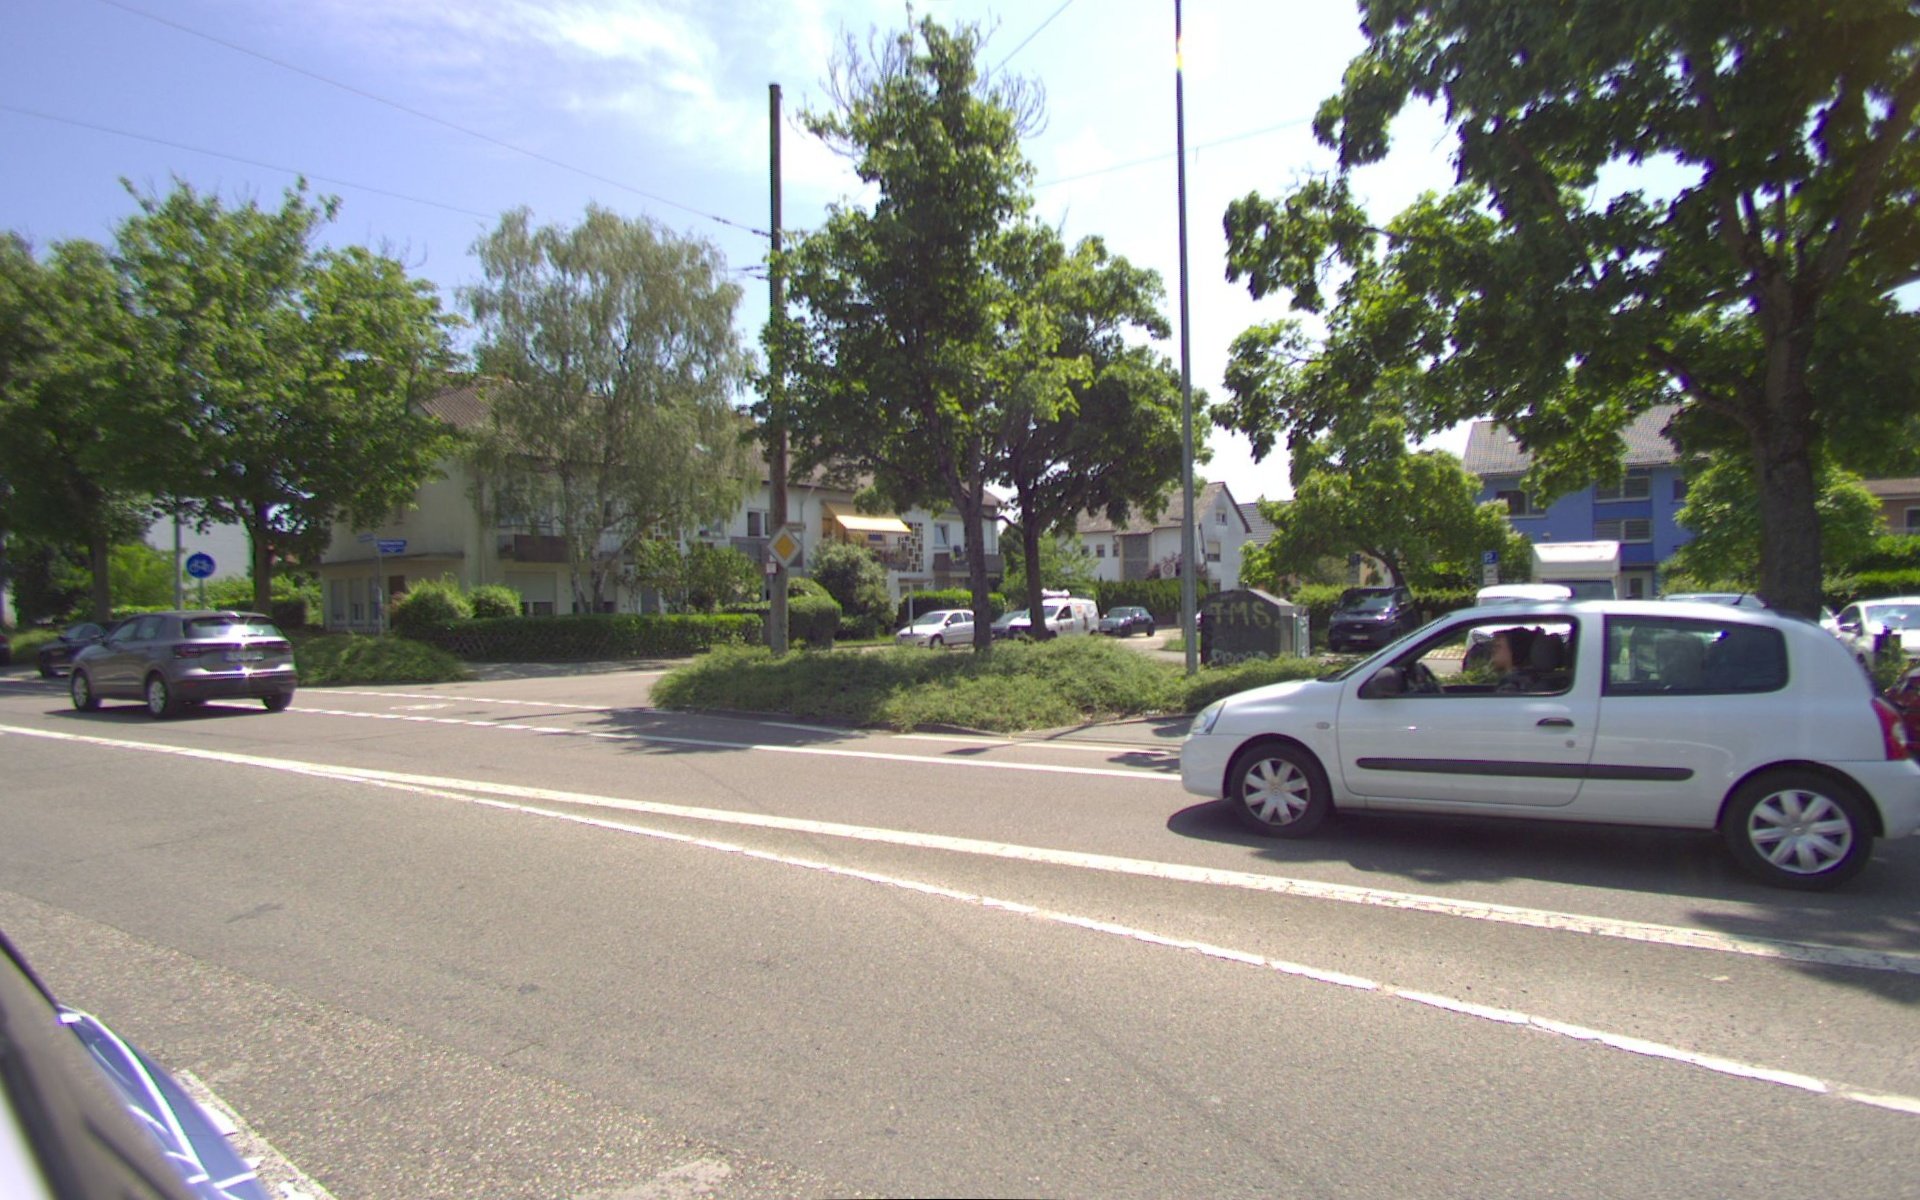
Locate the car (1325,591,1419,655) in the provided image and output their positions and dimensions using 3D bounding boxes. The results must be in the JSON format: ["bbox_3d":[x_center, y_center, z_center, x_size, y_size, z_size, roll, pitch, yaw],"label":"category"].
[{"bbox_3d":[13.035,0.666,31.870,1.934,1.834,4.671,-1,0,32],"label":"car"}]

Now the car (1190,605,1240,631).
[{"bbox_3d":[14.015,0.977,55.500,1.540,1.339,3.865,-1,-1,32],"label":"car"}]

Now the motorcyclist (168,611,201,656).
[{"bbox_3d":[-26.684,1.151,34.823,0.722,1.514,0.582,-1,2,31],"label":"motorcyclist"}]

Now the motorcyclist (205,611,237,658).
[{"bbox_3d":[-24.402,1.129,33.428,0.660,1.514,0.582,-1,2,31],"label":"motorcyclist"}]

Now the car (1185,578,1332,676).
[{"bbox_3d":[6.537,0.536,21.836,2.053,1.871,4.416,-1,-1,30],"label":"car"}]

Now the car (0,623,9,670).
[{"bbox_3d":[-32.457,1.529,32.473,4.111,1.498,1.665,-1,1,30],"label":"car"}]

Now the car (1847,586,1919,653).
[{"bbox_3d":[24.501,0.467,26.042,1.725,1.587,3.722,-1,0,29],"label":"car"}]

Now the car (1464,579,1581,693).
[{"bbox_3d":[10.449,0.598,18.730,1.667,1.849,4.236,-1,-1,31],"label":"car"}]

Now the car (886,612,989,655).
[{"bbox_3d":[-0.751,1.144,36.041,1.544,1.404,3.857,-1,-1,38],"label":"car"}]

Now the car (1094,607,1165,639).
[{"bbox_3d":[7.884,1.035,46.791,1.544,1.404,3.857,-1,-1,38],"label":"car"}]

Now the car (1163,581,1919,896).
[{"bbox_3d":[3.285,0.649,5.977,3.796,1.387,1.637,-1,-2,31],"label":"car"}]

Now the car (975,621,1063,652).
[{"bbox_3d":[2.344,1.400,39.504,1.544,1.000,3.700,-1,0,39],"label":"car"}]

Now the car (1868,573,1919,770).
[{"bbox_3d":[9.526,0.534,7.626,3.715,1.558,1.659,-1,-1,33],"label":"car"}]

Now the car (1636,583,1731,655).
[{"bbox_3d":[20.039,0.470,28.180,1.640,1.834,4.100,-1,0,29],"label":"car"}]

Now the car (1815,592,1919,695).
[{"bbox_3d":[15.537,0.635,16.412,1.926,1.520,4.091,-1,-1,32],"label":"car"}]

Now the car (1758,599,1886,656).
[{"bbox_3d":[22.810,0.692,26.943,1.810,1.343,4.099,-1,0,30],"label":"car"}]

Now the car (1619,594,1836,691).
[{"bbox_3d":[12.663,0.640,17.028,2.070,1.414,4.173,-1,-1,26],"label":"car"}]

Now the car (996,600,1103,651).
[{"bbox_3d":[3.276,0.886,36.458,1.740,1.719,4.178,-1,-1,41],"label":"car"}]

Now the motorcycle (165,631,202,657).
[{"bbox_3d":[-26.750,1.503,34.878,1.366,0.831,0.522,-1,2,31],"label":"motorcycle"}]

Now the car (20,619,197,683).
[{"bbox_3d":[-22.366,1.305,26.550,4.787,1.467,1.882,-1,1,28],"label":"car"}]

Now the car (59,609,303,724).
[{"bbox_3d":[-12.051,0.952,15.628,3.698,1.587,1.725,-1,-1,30],"label":"car"}]

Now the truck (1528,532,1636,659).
[{"bbox_3d":[17.834,-0.144,29.322,2.141,3.252,6.933,-1,0,28],"label":"truck"}]
